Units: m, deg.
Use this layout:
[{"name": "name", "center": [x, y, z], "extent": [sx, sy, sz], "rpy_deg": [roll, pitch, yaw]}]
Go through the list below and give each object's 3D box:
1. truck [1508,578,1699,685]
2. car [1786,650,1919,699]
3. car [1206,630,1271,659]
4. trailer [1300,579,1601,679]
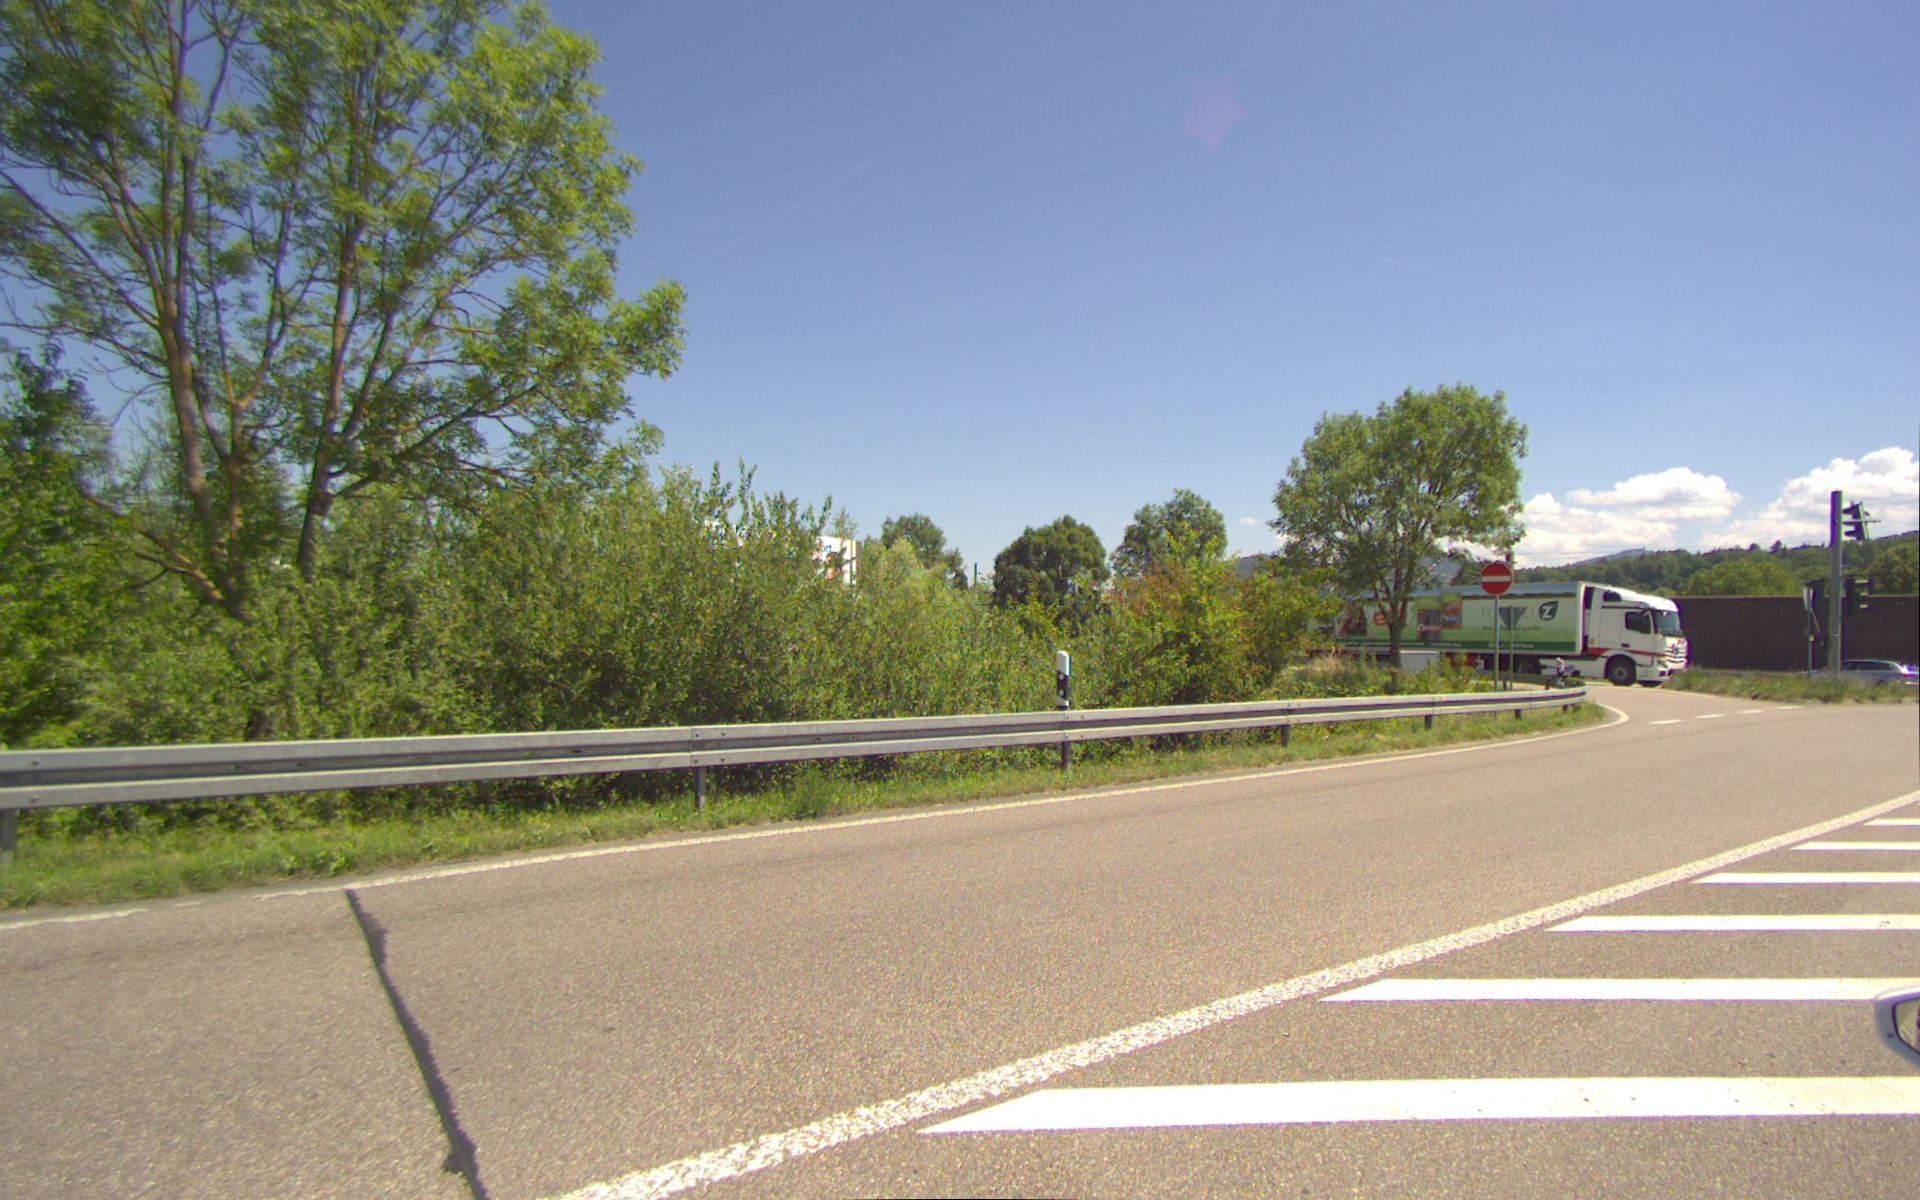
[{"name": "truck", "center": [25.854, 1.225, 40.598], "extent": [3.028, 4.006, 5.735], "rpy_deg": [2, -1, -31]}, {"name": "car", "center": [34.005, 2.769, 37.879], "extent": [1.969, 1.572, 3.983], "rpy_deg": [2, -1, -19]}, {"name": "car", "center": [15.865, 2.514, 57.271], "extent": [1.537, 1.484, 3.455], "rpy_deg": [2, -1, -31]}, {"name": "trailer", "center": [22.151, 1.221, 46.827], "extent": [3.027, 4.006, 13.074], "rpy_deg": [2, -1, -31]}]
